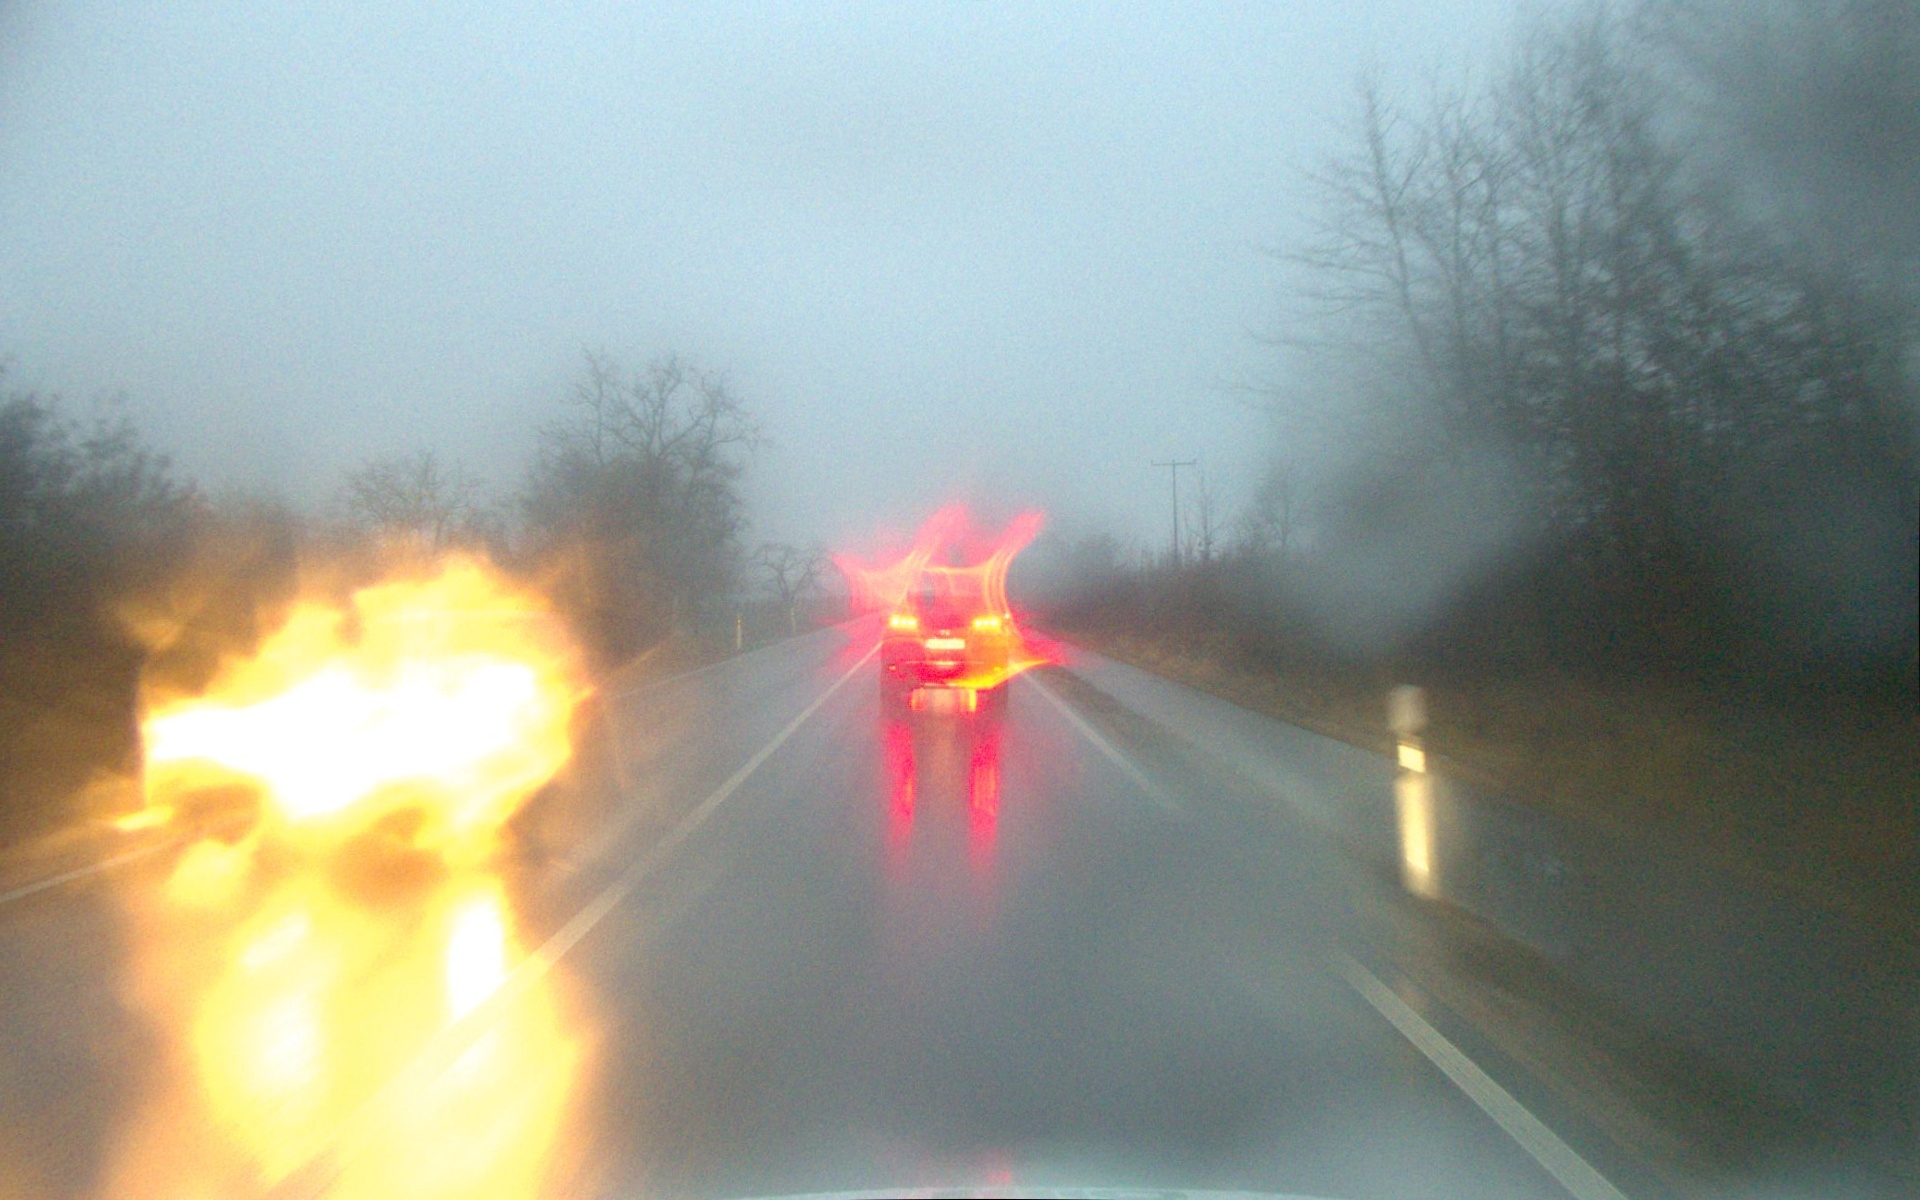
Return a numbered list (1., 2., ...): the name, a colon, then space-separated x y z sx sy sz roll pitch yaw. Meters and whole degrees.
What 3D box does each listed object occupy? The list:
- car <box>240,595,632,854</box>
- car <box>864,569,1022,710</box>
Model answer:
1. car: -3.540 0.740 11.923 1.599 1.482 3.981 -2 0 -2
2. car: -0.260 0.509 24.399 2.077 1.852 4.979 0 0 -1
